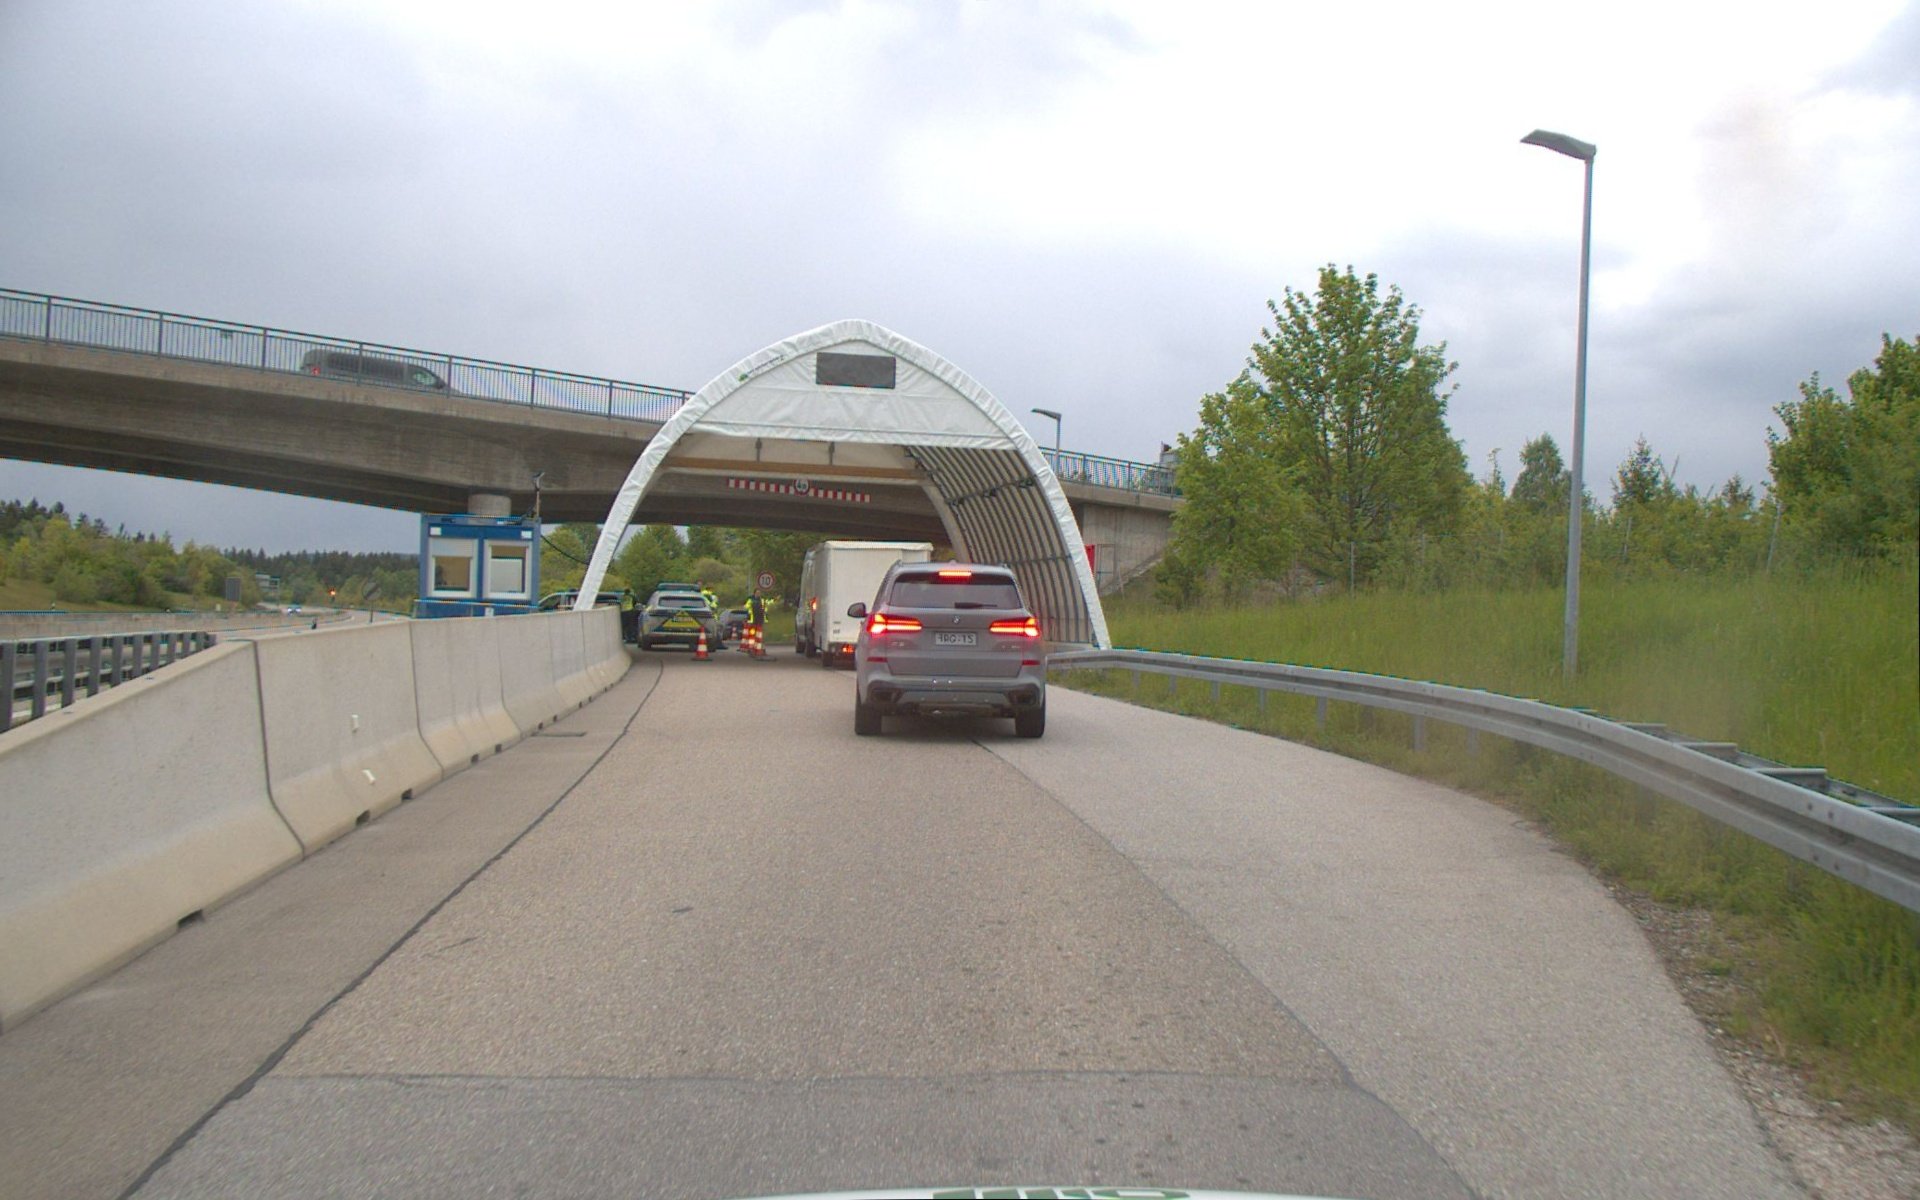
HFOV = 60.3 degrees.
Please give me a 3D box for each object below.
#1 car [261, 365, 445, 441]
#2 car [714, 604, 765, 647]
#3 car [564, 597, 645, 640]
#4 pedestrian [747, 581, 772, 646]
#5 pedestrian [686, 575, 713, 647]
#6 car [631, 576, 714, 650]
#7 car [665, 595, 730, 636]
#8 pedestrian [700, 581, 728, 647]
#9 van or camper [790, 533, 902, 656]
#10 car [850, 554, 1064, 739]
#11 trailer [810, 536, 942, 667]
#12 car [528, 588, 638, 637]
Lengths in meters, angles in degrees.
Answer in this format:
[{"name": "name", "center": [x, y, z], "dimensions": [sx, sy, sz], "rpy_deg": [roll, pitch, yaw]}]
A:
[{"name": "car", "center": [-18.338, -5.913, 50.067], "dimensions": [4.890, 1.677, 1.972], "rpy_deg": [1, -1, -39]}, {"name": "car", "center": [-9.990, 1.113, 74.733], "dimensions": [1.677, 1.886, 3.981], "rpy_deg": [0, 0, -17]}, {"name": "car", "center": [-12.375, 0.634, 57.491], "dimensions": [1.503, 1.467, 3.271], "rpy_deg": [1, -1, -37]}, {"name": "pedestrian", "center": [-5.655, 0.374, 46.587], "dimensions": [0.637, 1.807, 0.604], "rpy_deg": [1, -1, -14]}, {"name": "pedestrian", "center": [-7.287, 0.303, 46.214], "dimensions": [0.707, 1.979, 0.688], "rpy_deg": [1, -1, -12]}, {"name": "car", "center": [-7.459, 0.341, 42.670], "dimensions": [1.958, 1.803, 3.754], "rpy_deg": [1, 0, -12]}, {"name": "car", "center": [-13.355, 0.793, 83.951], "dimensions": [1.973, 2.049, 3.958], "rpy_deg": [1, -1, -31]}, {"name": "pedestrian", "center": [-6.729, 0.380, 45.184], "dimensions": [0.707, 1.807, 0.688], "rpy_deg": [1, -1, -12]}, {"name": "van or camper", "center": [-2.940, -0.067, 41.259], "dimensions": [2.118, 2.812, 5.856], "rpy_deg": [1, -1, -10]}, {"name": "car", "center": [-0.152, 0.472, 17.821], "dimensions": [1.955, 1.750, 3.995], "rpy_deg": [1, -1, -5]}, {"name": "trailer", "center": [-1.905, 0.102, 34.979], "dimensions": [2.236, 2.473, 6.805], "rpy_deg": [1, -1, -7]}, {"name": "car", "center": [-14.804, 0.489, 65.047], "dimensions": [3.903, 1.886, 1.710], "rpy_deg": [0, 0, 3]}]
